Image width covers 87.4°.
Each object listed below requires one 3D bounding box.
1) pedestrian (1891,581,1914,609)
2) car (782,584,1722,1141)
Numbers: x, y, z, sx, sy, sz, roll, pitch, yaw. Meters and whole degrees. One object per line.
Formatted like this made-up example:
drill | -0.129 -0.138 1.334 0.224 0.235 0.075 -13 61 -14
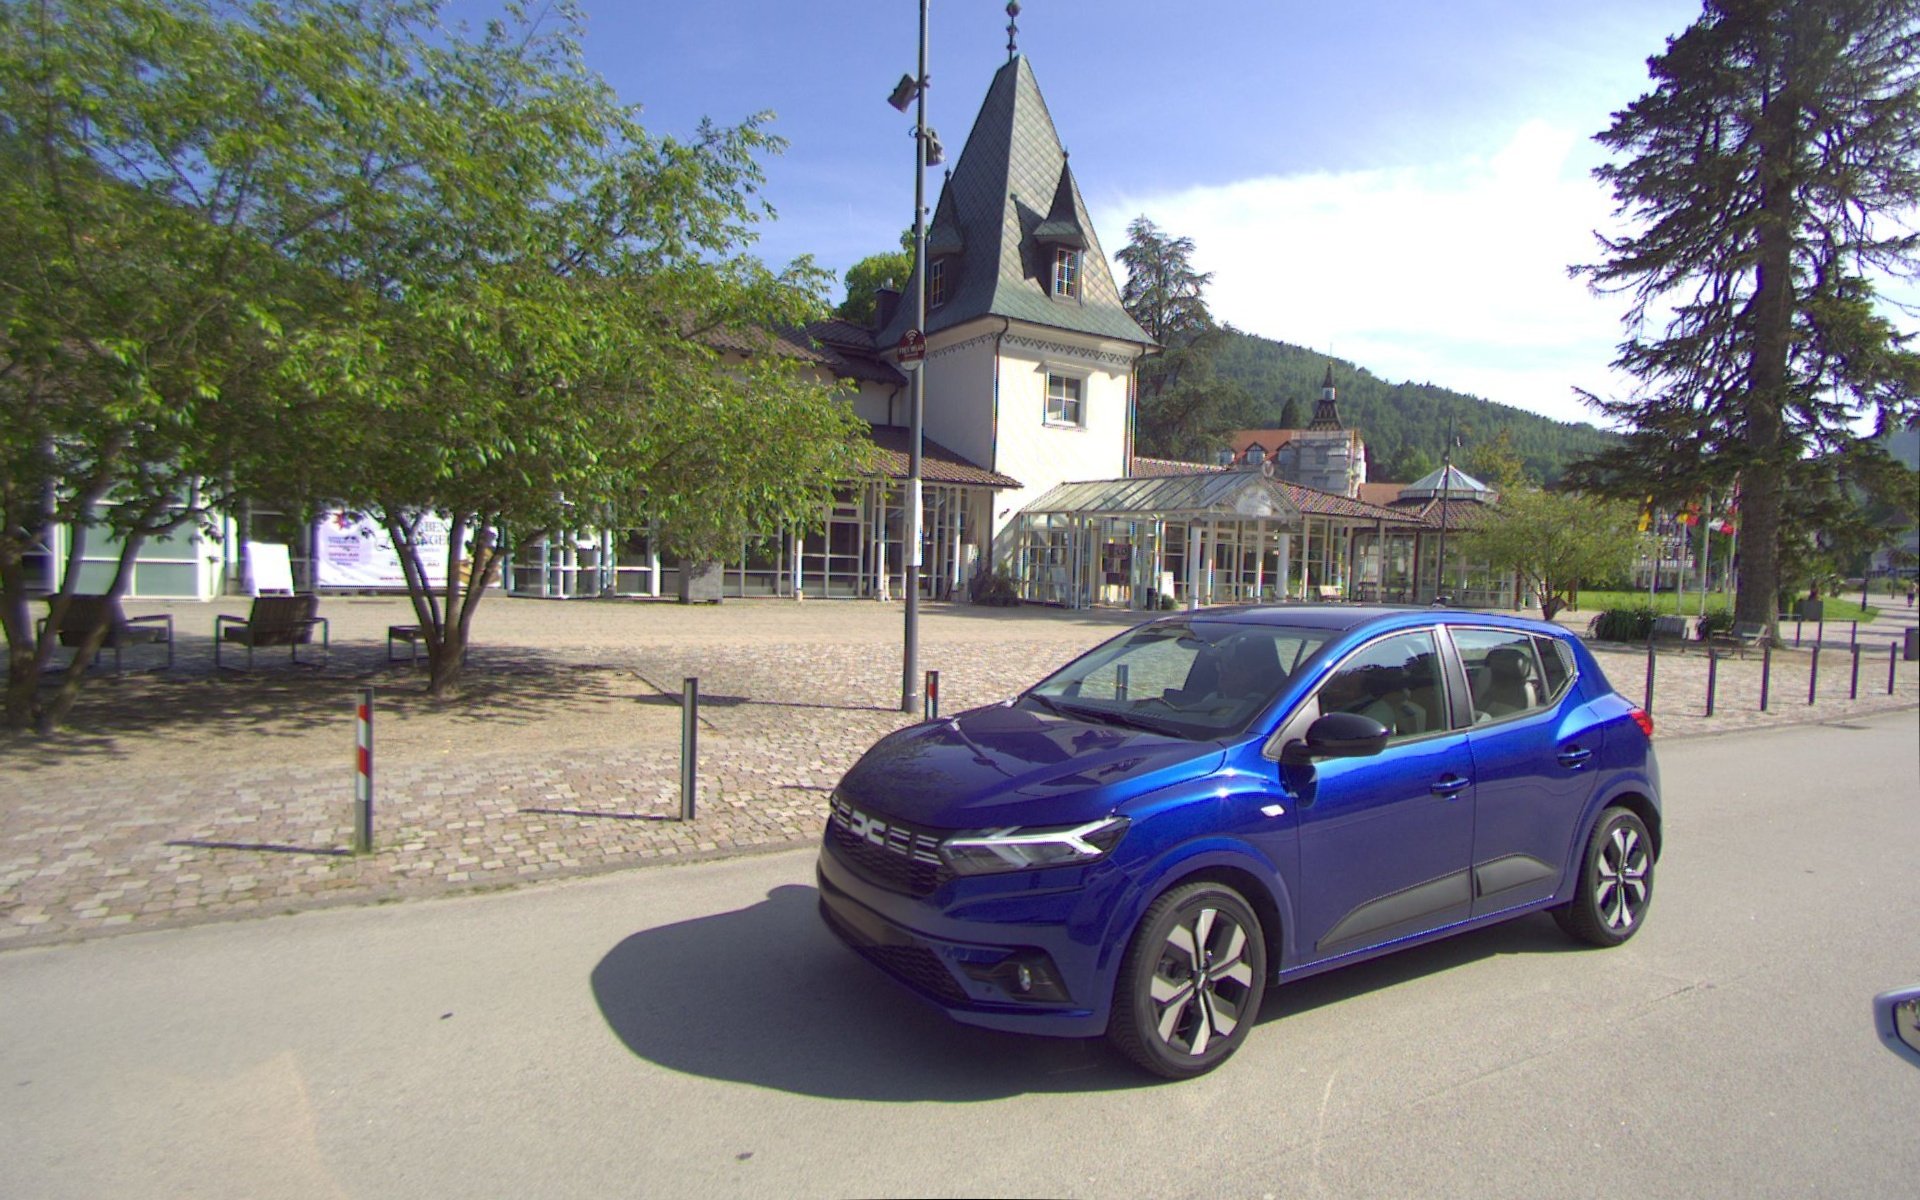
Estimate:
pedestrian | 62.811 -0.340 66.959 0.854 1.839 0.689 4 4 32
car | 1.471 0.718 4.514 4.140 1.482 1.732 1 1 -32
